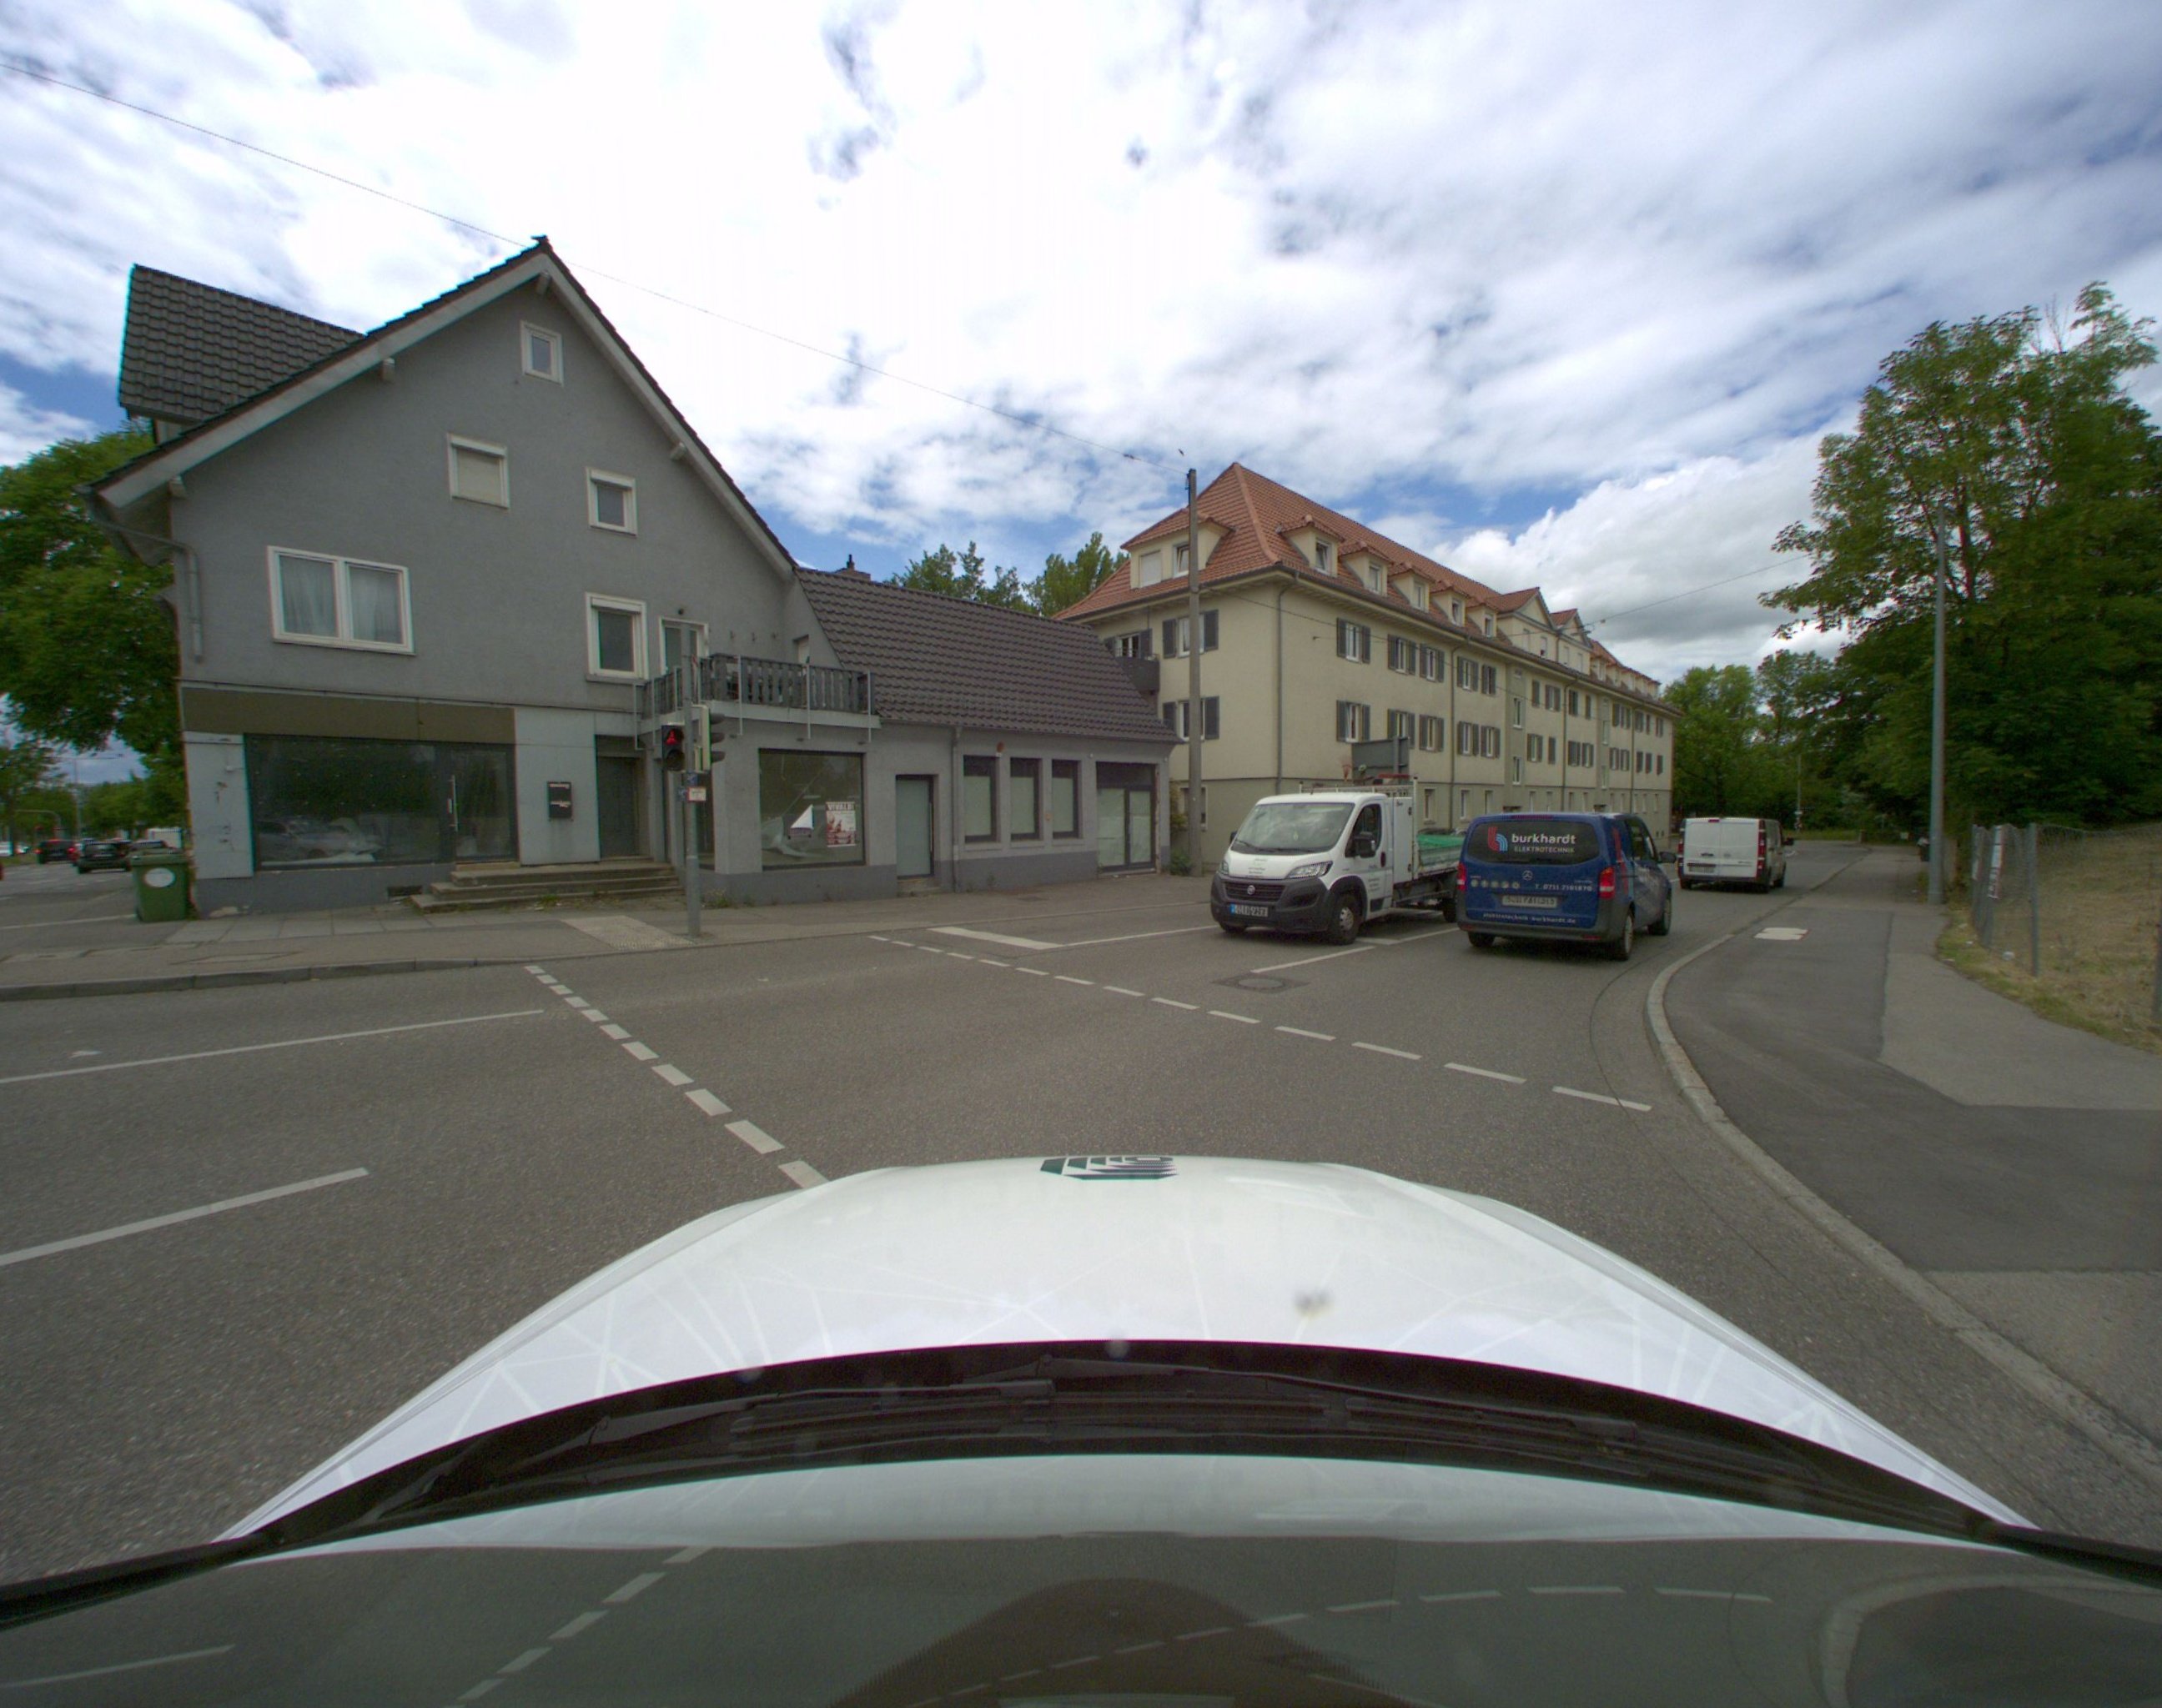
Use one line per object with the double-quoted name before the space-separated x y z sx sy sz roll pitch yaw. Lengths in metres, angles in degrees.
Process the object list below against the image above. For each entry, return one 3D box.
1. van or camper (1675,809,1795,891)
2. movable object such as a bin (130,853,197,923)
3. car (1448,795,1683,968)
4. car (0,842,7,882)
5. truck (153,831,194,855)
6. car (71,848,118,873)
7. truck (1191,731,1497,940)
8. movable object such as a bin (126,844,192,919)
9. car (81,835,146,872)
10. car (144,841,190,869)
"van or camper" 18.136 -0.170 22.492 5.126 2.013 1.976 -1 3 -45
"movable object such as a bin" -13.843 0.497 12.289 0.566 0.987 0.603 0 3 39
"car" 7.040 0.233 11.592 1.930 1.965 4.569 0 2 43
"car" -47.011 0.411 34.185 3.950 1.723 1.763 1 3 45
"truck" -84.634 -0.996 75.977 2.011 2.165 5.492 -1 1 -43
"car" -67.984 0.465 56.098 3.948 1.485 1.887 -1 3 39
"truck" 4.644 -0.292 13.504 6.444 2.700 1.976 -1 1 -44
"movable object such as a bin" -14.322 0.417 12.648 0.566 1.101 0.603 0 3 39
"car" -48.715 -0.064 41.068 3.950 1.723 1.763 0 3 44
"car" -60.770 0.027 54.205 3.950 1.723 1.763 1 3 45
